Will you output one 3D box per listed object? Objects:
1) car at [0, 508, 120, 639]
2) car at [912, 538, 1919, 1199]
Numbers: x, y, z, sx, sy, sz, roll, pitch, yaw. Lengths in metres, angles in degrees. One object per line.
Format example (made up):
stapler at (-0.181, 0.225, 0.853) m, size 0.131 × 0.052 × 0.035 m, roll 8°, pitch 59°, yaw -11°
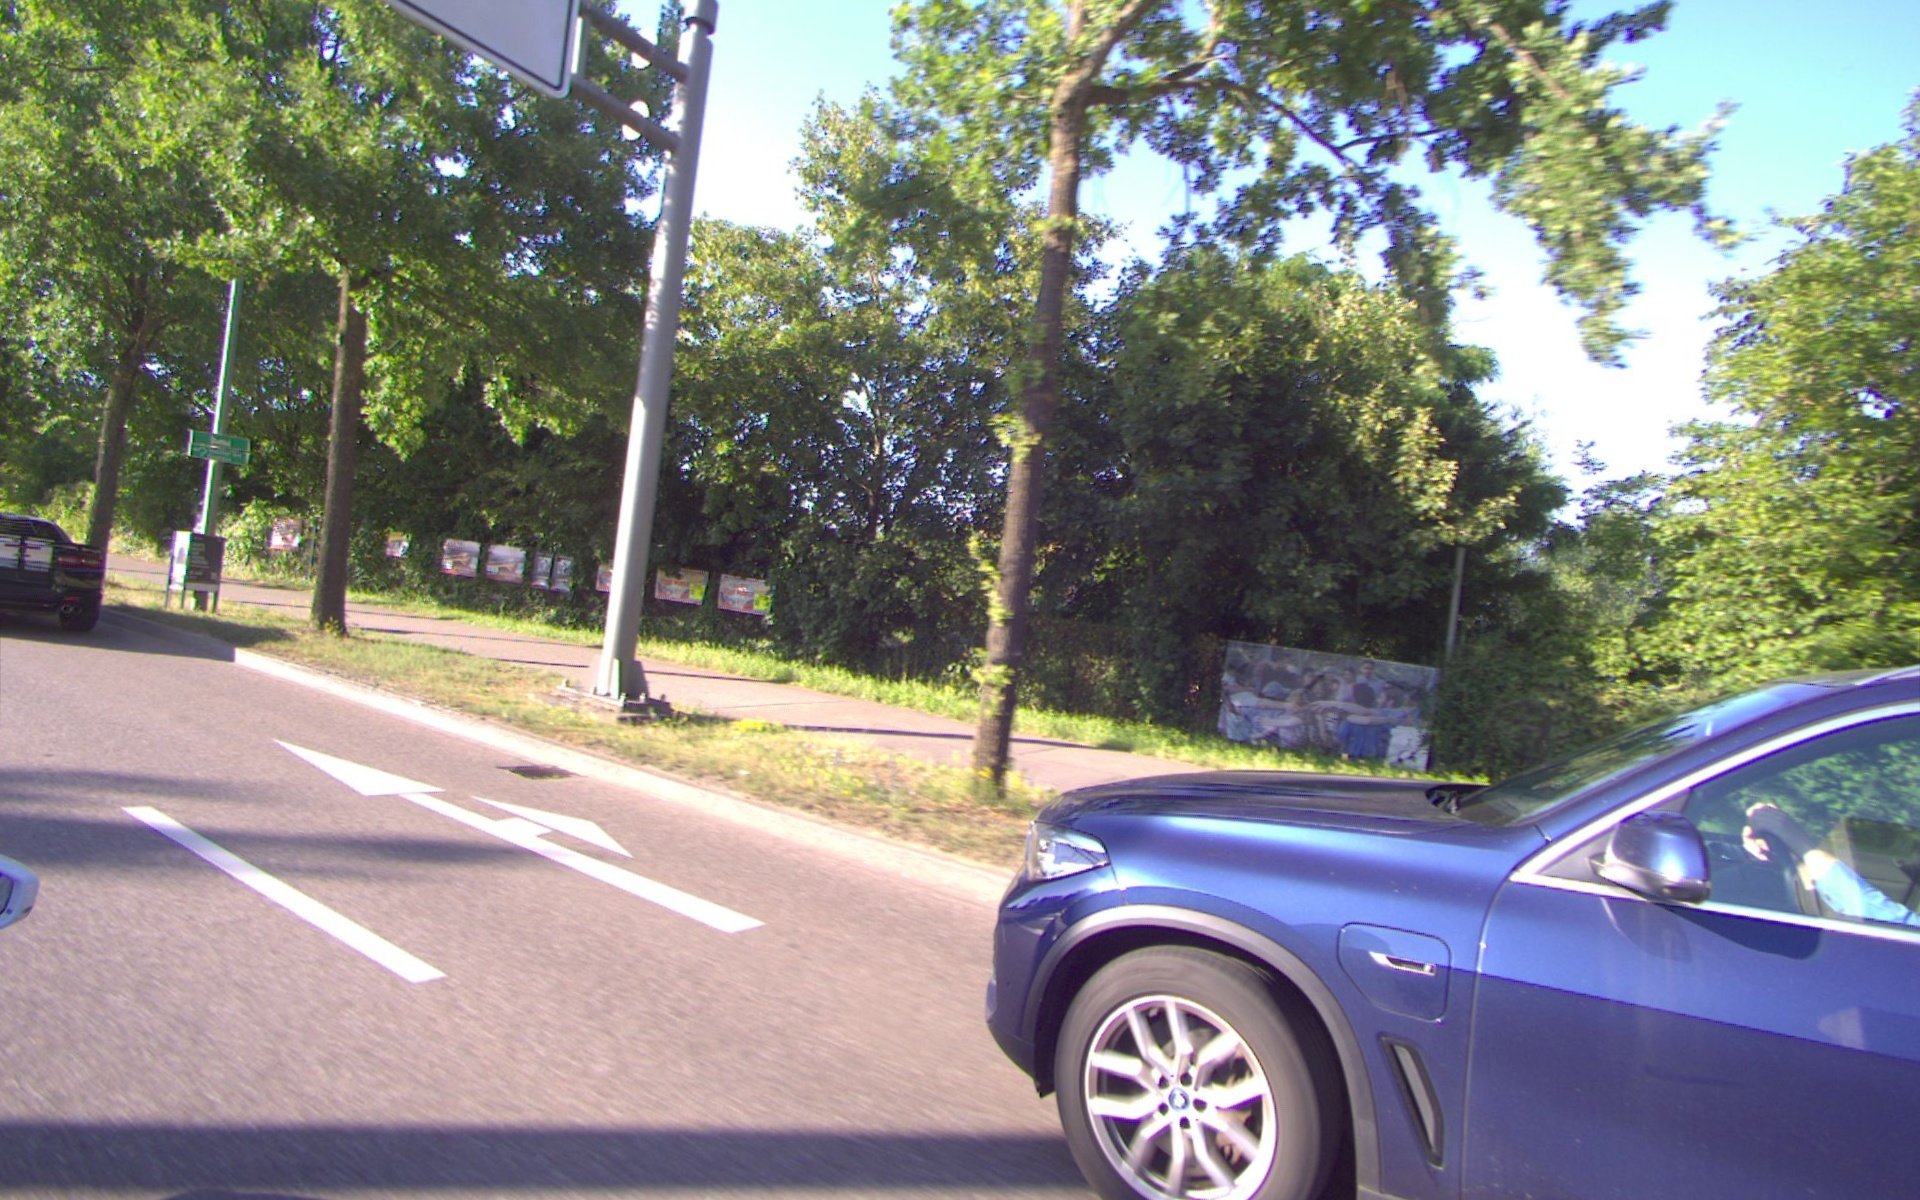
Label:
car at (-12.305, -0.502, 12.415) m, size 4.554 × 1.353 × 1.855 m, roll 6°, pitch -2°, yaw 36°
car at (2.397, 0.997, 2.489) m, size 4.624 × 1.747 × 1.957 m, roll 7°, pitch -1°, yaw 34°
